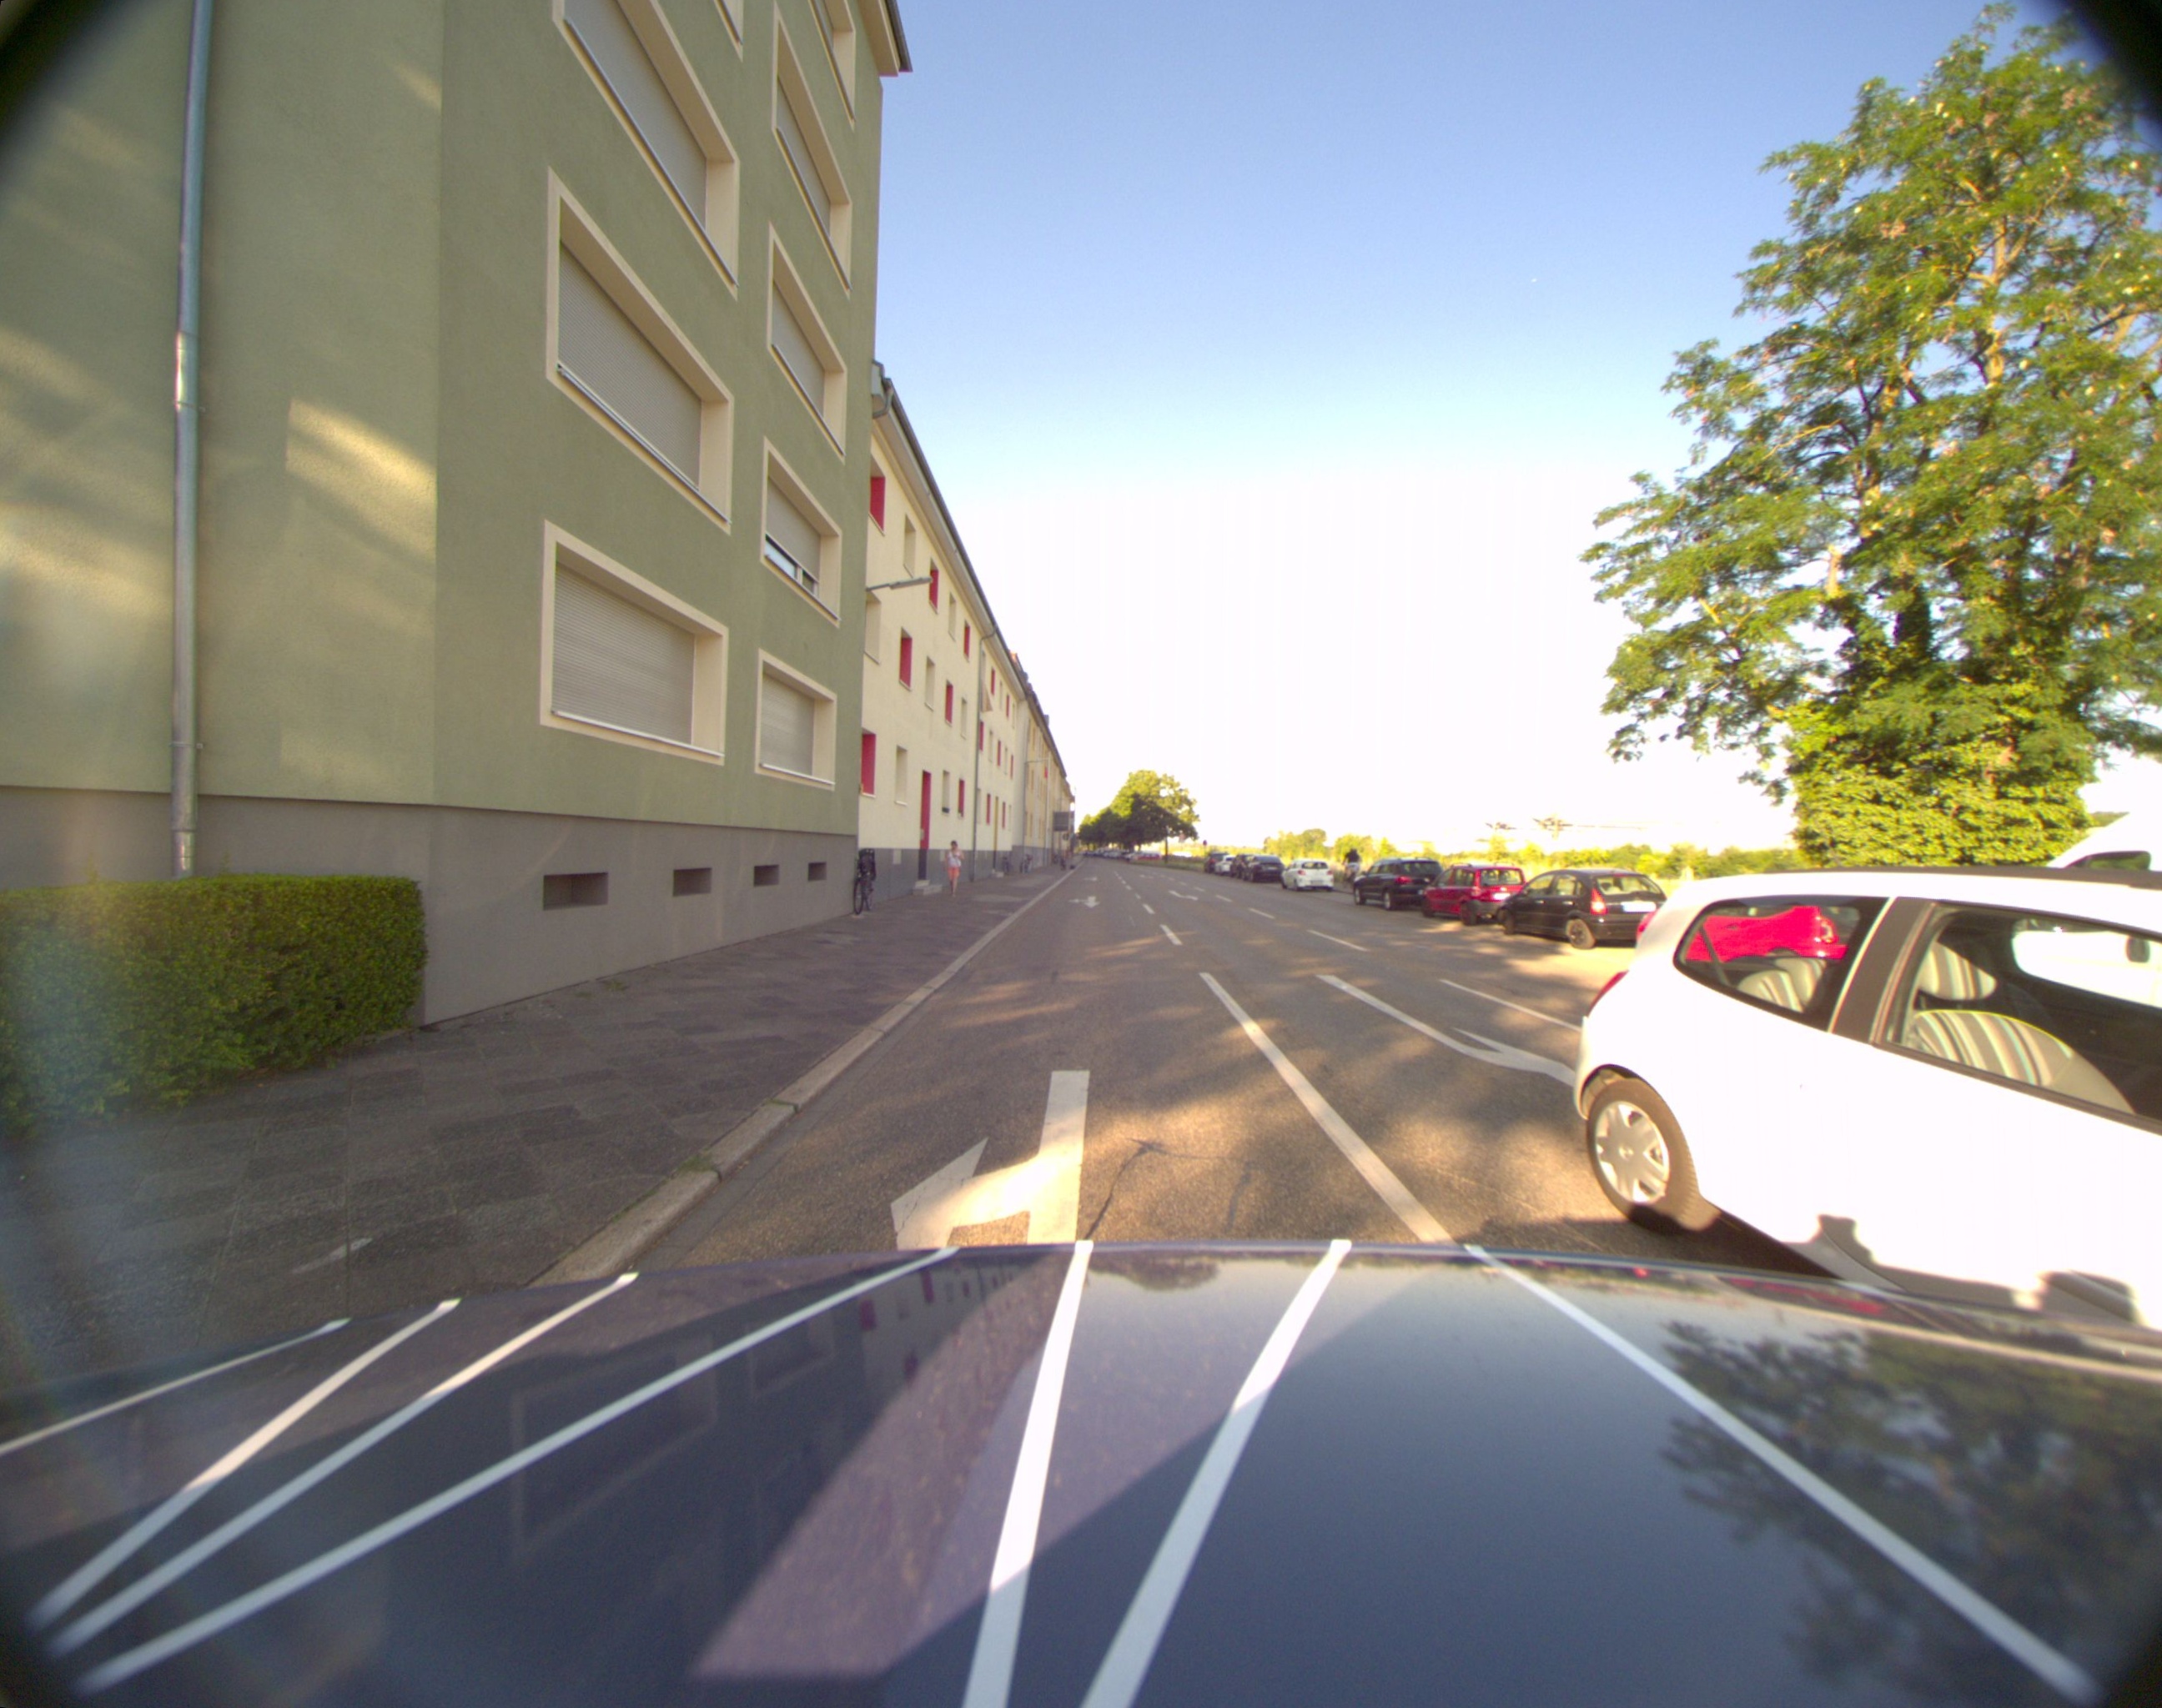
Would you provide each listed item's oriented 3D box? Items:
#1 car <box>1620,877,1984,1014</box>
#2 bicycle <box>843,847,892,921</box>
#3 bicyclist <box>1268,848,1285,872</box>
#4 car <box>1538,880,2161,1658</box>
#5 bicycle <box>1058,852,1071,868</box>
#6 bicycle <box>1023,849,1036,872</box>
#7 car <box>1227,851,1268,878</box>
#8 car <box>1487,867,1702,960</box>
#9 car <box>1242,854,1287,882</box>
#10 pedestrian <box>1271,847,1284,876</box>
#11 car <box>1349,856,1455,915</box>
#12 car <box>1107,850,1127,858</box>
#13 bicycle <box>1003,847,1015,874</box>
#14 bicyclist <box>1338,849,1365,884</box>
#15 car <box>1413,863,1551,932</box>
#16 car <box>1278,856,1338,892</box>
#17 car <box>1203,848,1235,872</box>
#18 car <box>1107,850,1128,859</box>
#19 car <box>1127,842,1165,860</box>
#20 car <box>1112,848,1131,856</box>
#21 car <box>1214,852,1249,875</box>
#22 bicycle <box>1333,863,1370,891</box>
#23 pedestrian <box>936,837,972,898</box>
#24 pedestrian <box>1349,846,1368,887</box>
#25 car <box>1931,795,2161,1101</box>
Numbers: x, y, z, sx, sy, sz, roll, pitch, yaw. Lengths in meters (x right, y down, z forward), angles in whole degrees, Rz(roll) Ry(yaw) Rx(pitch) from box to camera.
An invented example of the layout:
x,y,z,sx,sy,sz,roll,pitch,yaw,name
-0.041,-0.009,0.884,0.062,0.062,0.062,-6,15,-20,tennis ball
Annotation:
x,y,z,sx,sy,sz,roll,pitch,yaw,name
10.075,1.165,11.085,1.745,1.478,3.694,2,1,0,car
-4.301,0.558,15.415,0.517,1.404,1.873,2,1,-3,bicycle
12.825,0.392,49.879,0.768,1.587,1.146,2,1,2,bicyclist
3.020,0.890,1.653,1.705,1.460,3.775,2,1,-1,car
-1.234,0.436,56.885,0.651,1.091,2.201,1,1,-8,bicycle
-3.150,0.387,46.350,0.517,1.318,2.210,2,1,2,bicycle
10.861,0.633,49.746,1.823,1.628,4.220,2,1,2,car
10.178,1.088,15.455,1.745,1.521,3.816,2,1,0,car
10.584,0.768,44.046,1.823,1.517,4.291,2,1,5,car
13.952,0.515,53.952,0.706,2.002,0.710,2,1,2,pedestrian
10.151,0.924,24.392,1.664,1.649,4.005,2,1,0,car
7.489,0.012,158.351,3.997,1.708,2.000,2,1,-1,car
-3.921,0.341,41.418,0.517,1.404,1.873,2,1,-3,bicycle
12.661,0.577,35.587,0.866,1.587,1.146,2,1,3,bicyclist
10.272,1.042,19.771,1.664,1.521,3.579,2,1,0,car
10.422,0.885,35.112,1.706,1.517,3.583,2,1,1,car
11.017,0.465,61.023,1.890,1.765,4.220,2,1,2,car
7.446,0.050,155.357,3.997,1.708,2.000,2,1,-1,car
9.543,-0.403,112.283,5.322,2.398,2.266,-2,1,0,car
9.224,-0.383,173.205,3.997,1.708,2.000,2,1,-1,car
10.868,0.653,55.138,1.823,1.565,4.220,2,1,2,car
12.644,1.048,35.600,0.939,1.182,2.482,2,1,4,bicycle
-3.659,0.384,21.973,0.787,1.697,0.950,3,1,1,pedestrian
13.550,0.604,37.115,0.615,2.002,0.730,2,1,-1,pedestrian
9.695,0.740,4.862,2.235,2.422,5.559,-1,1,-1,car
